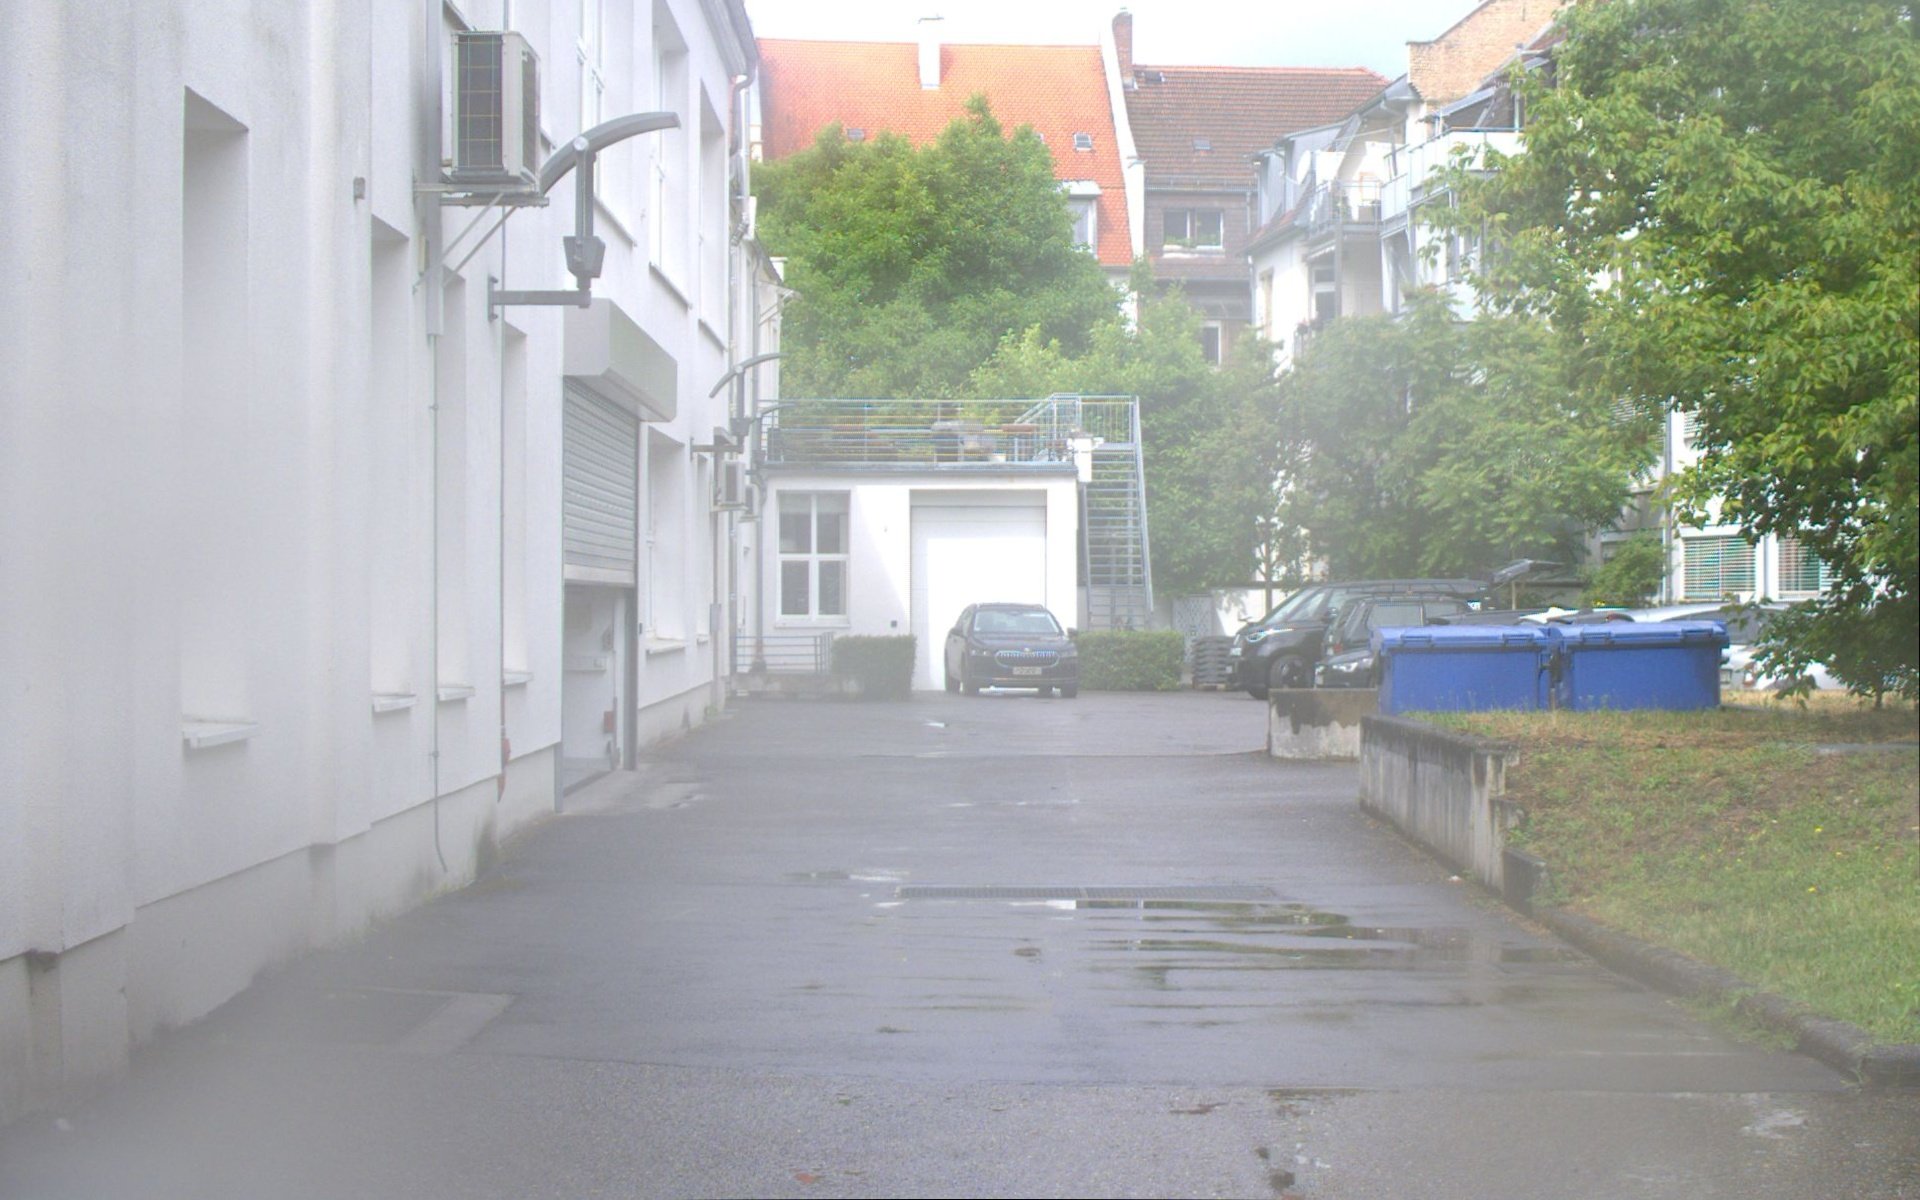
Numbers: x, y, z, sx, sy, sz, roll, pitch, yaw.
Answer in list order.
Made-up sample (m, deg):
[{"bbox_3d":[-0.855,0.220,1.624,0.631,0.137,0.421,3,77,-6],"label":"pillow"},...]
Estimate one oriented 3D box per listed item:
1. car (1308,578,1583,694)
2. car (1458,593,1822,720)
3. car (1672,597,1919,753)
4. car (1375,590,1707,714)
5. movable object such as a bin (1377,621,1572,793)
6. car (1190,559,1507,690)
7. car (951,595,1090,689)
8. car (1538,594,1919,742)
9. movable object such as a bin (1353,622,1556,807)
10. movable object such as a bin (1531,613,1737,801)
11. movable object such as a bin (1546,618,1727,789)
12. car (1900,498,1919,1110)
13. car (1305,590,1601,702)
[{"bbox_3d":[7.477,0.552,53.151,3.908,1.682,1.817,-1,0,-2],"label":"car"},{"bbox_3d":[8.270,0.676,41.991,3.986,1.453,1.773,-1,0,-6],"label":"car"},{"bbox_3d":[8.946,0.703,33.860,3.415,1.422,1.688,-2,0,-3],"label":"car"},{"bbox_3d":[7.632,0.677,45.347,3.908,1.508,1.820,-1,0,-8],"label":"car"},{"bbox_3d":[4.027,0.828,27.026,1.372,1.300,1.083,-1,0,1],"label":"movable object such as a bin"},{"bbox_3d":[6.292,0.370,55.890,4.634,1.996,2.226,-1,1,-11],"label":"car"},{"bbox_3d":[0.938,0.646,55.448,1.979,1.439,4.000,0,0,-3],"label":"car"},{"bbox_3d":[8.380,0.710,36.815,3.986,1.441,1.807,-1,0,-4],"label":"car"},{"bbox_3d":[3.631,0.830,25.358,1.337,1.287,1.095,-1,1,1],"label":"movable object such as a bin"},{"bbox_3d":[4.963,0.779,25.419,1.293,1.332,1.197,-1,0,1],"label":"movable object such as a bin"},{"bbox_3d":[5.330,0.801,27.156,1.185,1.300,1.107,-1,0,0],"label":"movable object such as a bin"},{"bbox_3d":[5.432,0.663,9.908,4.873,1.919,2.099,1,-1,2],"label":"car"},{"bbox_3d":[7.118,0.661,49.869,3.908,1.508,1.752,-1,0,-6],"label":"car"}]
